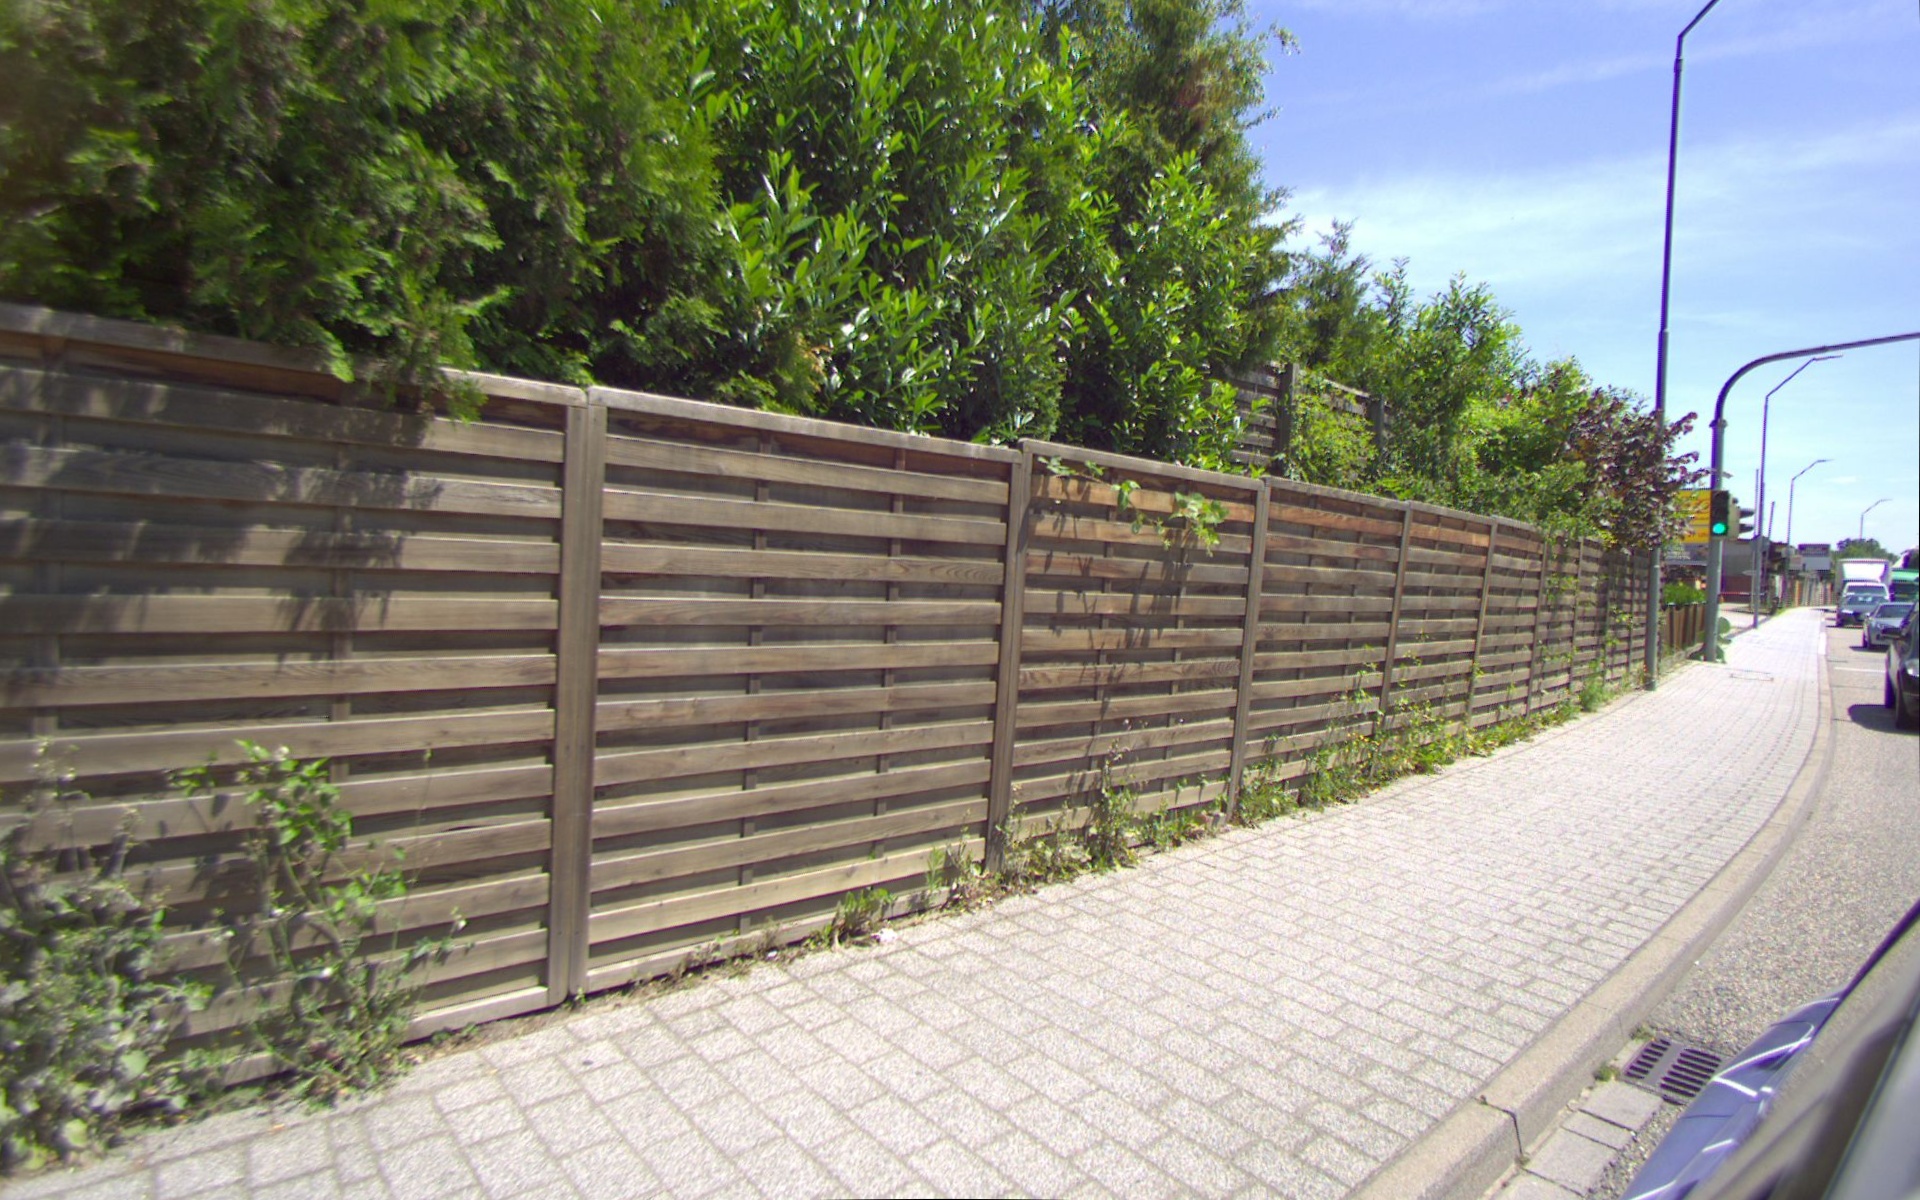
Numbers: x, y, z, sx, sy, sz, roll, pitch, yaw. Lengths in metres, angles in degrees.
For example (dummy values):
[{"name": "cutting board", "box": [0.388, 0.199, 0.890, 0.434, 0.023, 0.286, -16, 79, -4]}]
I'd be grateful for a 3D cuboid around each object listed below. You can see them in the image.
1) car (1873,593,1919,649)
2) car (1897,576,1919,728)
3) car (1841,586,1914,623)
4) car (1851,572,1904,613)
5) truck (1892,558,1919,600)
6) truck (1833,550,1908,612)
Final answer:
[{"name": "car", "box": [24.789, 0.525, 25.884, 1.805, 1.330, 3.945, 2, 1, 38]}, {"name": "car", "box": [12.136, 0.548, 11.727, 1.759, 1.612, 4.135, 1, 1, 42]}, {"name": "car", "box": [37.746, 0.172, 41.712, 1.888, 1.393, 3.945, 2, 1, 38]}, {"name": "car", "box": [45.861, -0.366, 50.560, 1.863, 1.932, 4.957, 1, 1, 43]}, {"name": "truck", "box": [80.188, -1.693, 84.655, 2.845, 3.271, 8.041, 6, 5, 41]}, {"name": "truck", "box": [59.518, -1.214, 66.139, 3.197, 3.642, 8.178, 7, 5, 43]}]
